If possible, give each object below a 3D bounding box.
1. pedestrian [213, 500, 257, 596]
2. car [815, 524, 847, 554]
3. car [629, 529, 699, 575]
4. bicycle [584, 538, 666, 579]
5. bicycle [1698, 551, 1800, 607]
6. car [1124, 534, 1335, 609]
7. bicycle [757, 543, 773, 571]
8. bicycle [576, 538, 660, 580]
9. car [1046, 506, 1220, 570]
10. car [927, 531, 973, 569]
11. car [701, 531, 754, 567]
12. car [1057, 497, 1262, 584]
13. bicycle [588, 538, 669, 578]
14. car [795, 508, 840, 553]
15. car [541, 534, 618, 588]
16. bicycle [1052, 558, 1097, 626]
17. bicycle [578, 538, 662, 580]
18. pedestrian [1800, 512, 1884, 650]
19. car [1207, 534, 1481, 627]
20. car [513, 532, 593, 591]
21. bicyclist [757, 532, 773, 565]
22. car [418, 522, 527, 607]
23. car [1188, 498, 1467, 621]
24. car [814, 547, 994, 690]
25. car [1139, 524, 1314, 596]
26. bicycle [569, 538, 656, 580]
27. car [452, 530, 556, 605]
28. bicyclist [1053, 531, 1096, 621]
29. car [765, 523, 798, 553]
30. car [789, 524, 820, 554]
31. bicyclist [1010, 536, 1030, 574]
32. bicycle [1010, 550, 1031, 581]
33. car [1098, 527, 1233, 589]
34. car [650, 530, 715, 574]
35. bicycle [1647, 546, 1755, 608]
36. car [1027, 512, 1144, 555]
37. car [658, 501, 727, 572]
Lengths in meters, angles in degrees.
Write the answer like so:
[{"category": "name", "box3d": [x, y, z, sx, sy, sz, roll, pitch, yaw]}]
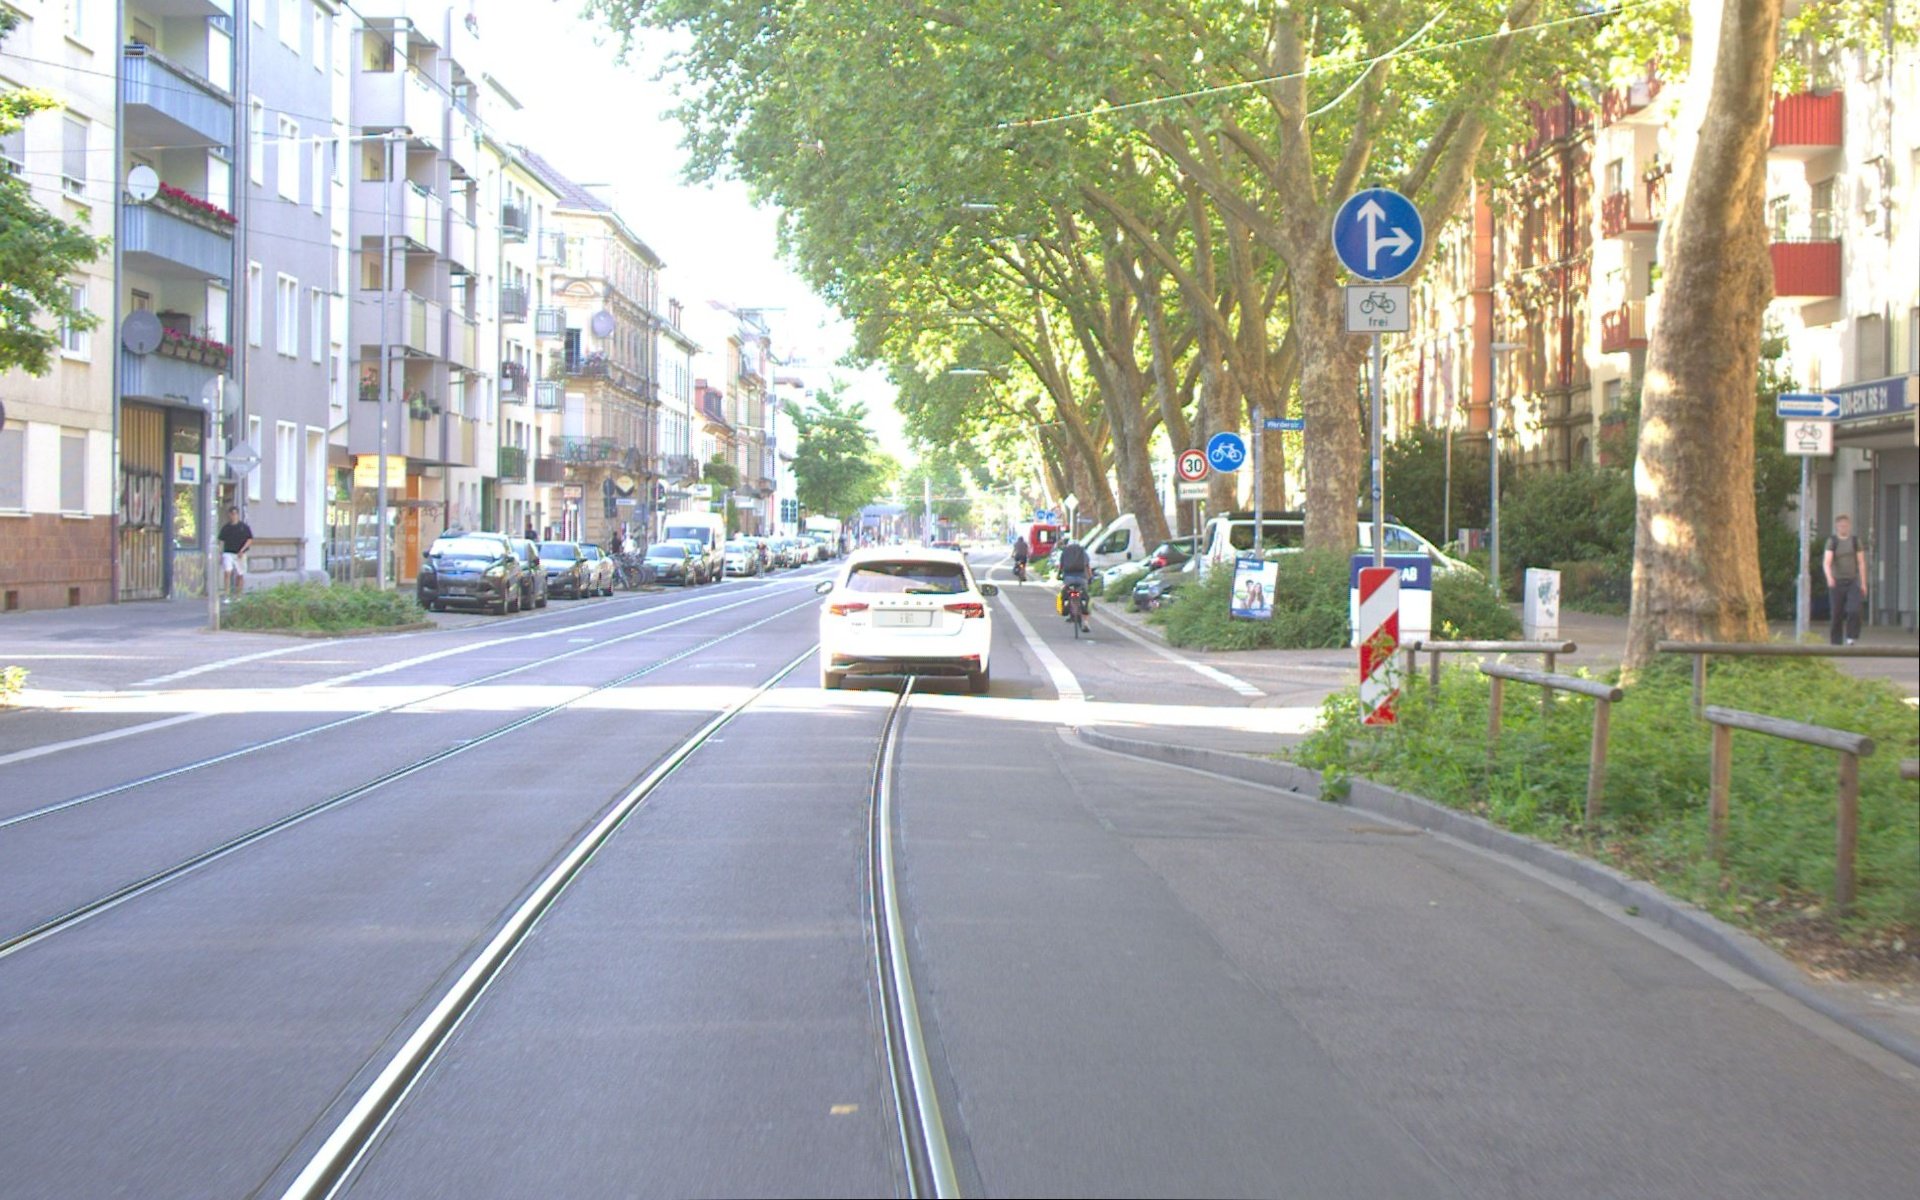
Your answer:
[{"category": "pedestrian", "box3d": [-13.927, -0.998, 66.068, 0.663, 1.820, 0.965, 1, 1, -1]}, {"category": "car", "box3d": [-8.709, -4.145, 232.003, 1.993, 2.007, 4.000, 0, 1, 0]}, {"category": "car", "box3d": [-10.004, -1.640, 116.391, 1.993, 1.525, 4.000, 0, 1, 0]}, {"category": "bicycle", "box3d": [-10.514, -1.309, 107.974, 2.524, 1.168, 0.719, 2, -1, -5]}, {"category": "bicycle", "box3d": [15.307, -0.414, 66.723, 1.791, 1.038, 0.618, -2, 1, -4]}, {"category": "car", "box3d": [5.510, -0.596, 70.614, 4.142, 1.509, 1.931, 0, 1, -1]}, {"category": "bicycle", "box3d": [-7.552, -1.681, 133.193, 0.605, 1.067, 1.583, 0, 1, -2]}, {"category": "bicycle", "box3d": [-10.471, -1.252, 105.250, 2.524, 1.168, 0.719, 2, -1, -6]}, {"category": "car", "box3d": [6.261, -2.266, 124.993, 6.130, 2.274, 2.529, 0, 1, -1]}, {"category": "car", "box3d": [-0.391, -2.011, 137.247, 1.761, 1.470, 4.000, 0, 1, 1]}, {"category": "car", "box3d": [-10.008, -2.214, 148.443, 1.993, 1.525, 4.000, 0, 1, 0]}, {"category": "car", "box3d": [6.130, -1.854, 106.377, 6.130, 2.626, 2.529, 0, 1, -1]}, {"category": "bicycle", "box3d": [-10.508, -1.322, 109.028, 2.524, 1.168, 0.719, 2, -1, -6]}, {"category": "car", "box3d": [-10.382, -5.063, 250.987, 2.968, 3.145, 5.847, 1, 1, 0]}, {"category": "car", "box3d": [-10.180, -1.062, 92.211, 1.485, 1.398, 3.990, 1, 1, 2]}, {"category": "bicycle", "box3d": [1.845, -0.137, 55.404, 0.681, 1.067, 1.781, 0, 1, 1]}, {"category": "bicycle", "box3d": [-10.486, -1.270, 106.136, 2.524, 1.168, 0.719, 2, -1, -5]}, {"category": "pedestrian", "box3d": [12.045, -0.269, 46.973, 0.766, 1.860, 1.189, 0, 1, -4]}, {"category": "car", "box3d": [6.317, -0.333, 56.818, 4.297, 1.474, 1.831, 0, 1, -1]}, {"category": "car", "box3d": [-10.280, -0.994, 87.017, 1.653, 1.432, 3.837, 1, 1, -2]}, {"category": "bicyclist", "box3d": [-7.552, -2.013, 133.224, 0.597, 1.281, 0.917, 0, 1, -3]}, {"category": "car", "box3d": [-10.095, -0.762, 71.409, 1.702, 1.645, 4.242, 3, 1, -2]}, {"category": "car", "box3d": [6.306, -0.705, 59.390, 4.543, 2.069, 2.001, 0, 1, -2]}, {"category": "car", "box3d": [-0.589, 0.153, 35.705, 1.761, 1.379, 4.000, 0, 1, -1]}, {"category": "car", "box3d": [6.302, -0.955, 81.519, 3.987, 1.674, 1.723, 0, 1, -1]}, {"category": "bicycle", "box3d": [-10.534, -1.240, 104.368, 2.525, 1.168, 0.883, 3, -1, -39]}, {"category": "car", "box3d": [-10.126, -0.743, 76.574, 1.702, 1.539, 4.242, 3, 1, 0]}, {"category": "bicyclist", "box3d": [1.847, -0.398, 55.494, 0.678, 1.438, 1.047, 0, 1, 1]}, {"category": "car", "box3d": [-11.916, -4.137, 229.556, 1.993, 2.007, 4.000, 0, 1, 0]}, {"category": "car", "box3d": [-11.017, -4.329, 243.847, 1.993, 2.007, 4.000, 1, 1, 0]}, {"category": "bicyclist", "box3d": [2.111, -1.576, 120.315, 0.649, 1.339, 0.934, 0, 1, -2]}, {"category": "bicycle", "box3d": [2.116, -1.225, 120.313, 0.649, 1.067, 1.583, 0, 1, -2]}, {"category": "car", "box3d": [5.614, -1.169, 94.137, 3.634, 1.660, 1.822, 0, 1, 3]}, {"category": "car", "box3d": [-9.845, -1.709, 122.171, 1.993, 1.525, 4.000, 0, 1, 0]}, {"category": "bicycle", "box3d": [14.393, -0.450, 66.797, 1.944, 1.153, 0.572, -1, 1, -7]}, {"category": "car", "box3d": [6.728, -3.591, 185.212, 6.130, 2.274, 2.529, 0, 1, -1]}, {"category": "car", "box3d": [-9.939, -2.355, 128.106, 2.178, 2.588, 4.949, 0, 1, 0]}]
